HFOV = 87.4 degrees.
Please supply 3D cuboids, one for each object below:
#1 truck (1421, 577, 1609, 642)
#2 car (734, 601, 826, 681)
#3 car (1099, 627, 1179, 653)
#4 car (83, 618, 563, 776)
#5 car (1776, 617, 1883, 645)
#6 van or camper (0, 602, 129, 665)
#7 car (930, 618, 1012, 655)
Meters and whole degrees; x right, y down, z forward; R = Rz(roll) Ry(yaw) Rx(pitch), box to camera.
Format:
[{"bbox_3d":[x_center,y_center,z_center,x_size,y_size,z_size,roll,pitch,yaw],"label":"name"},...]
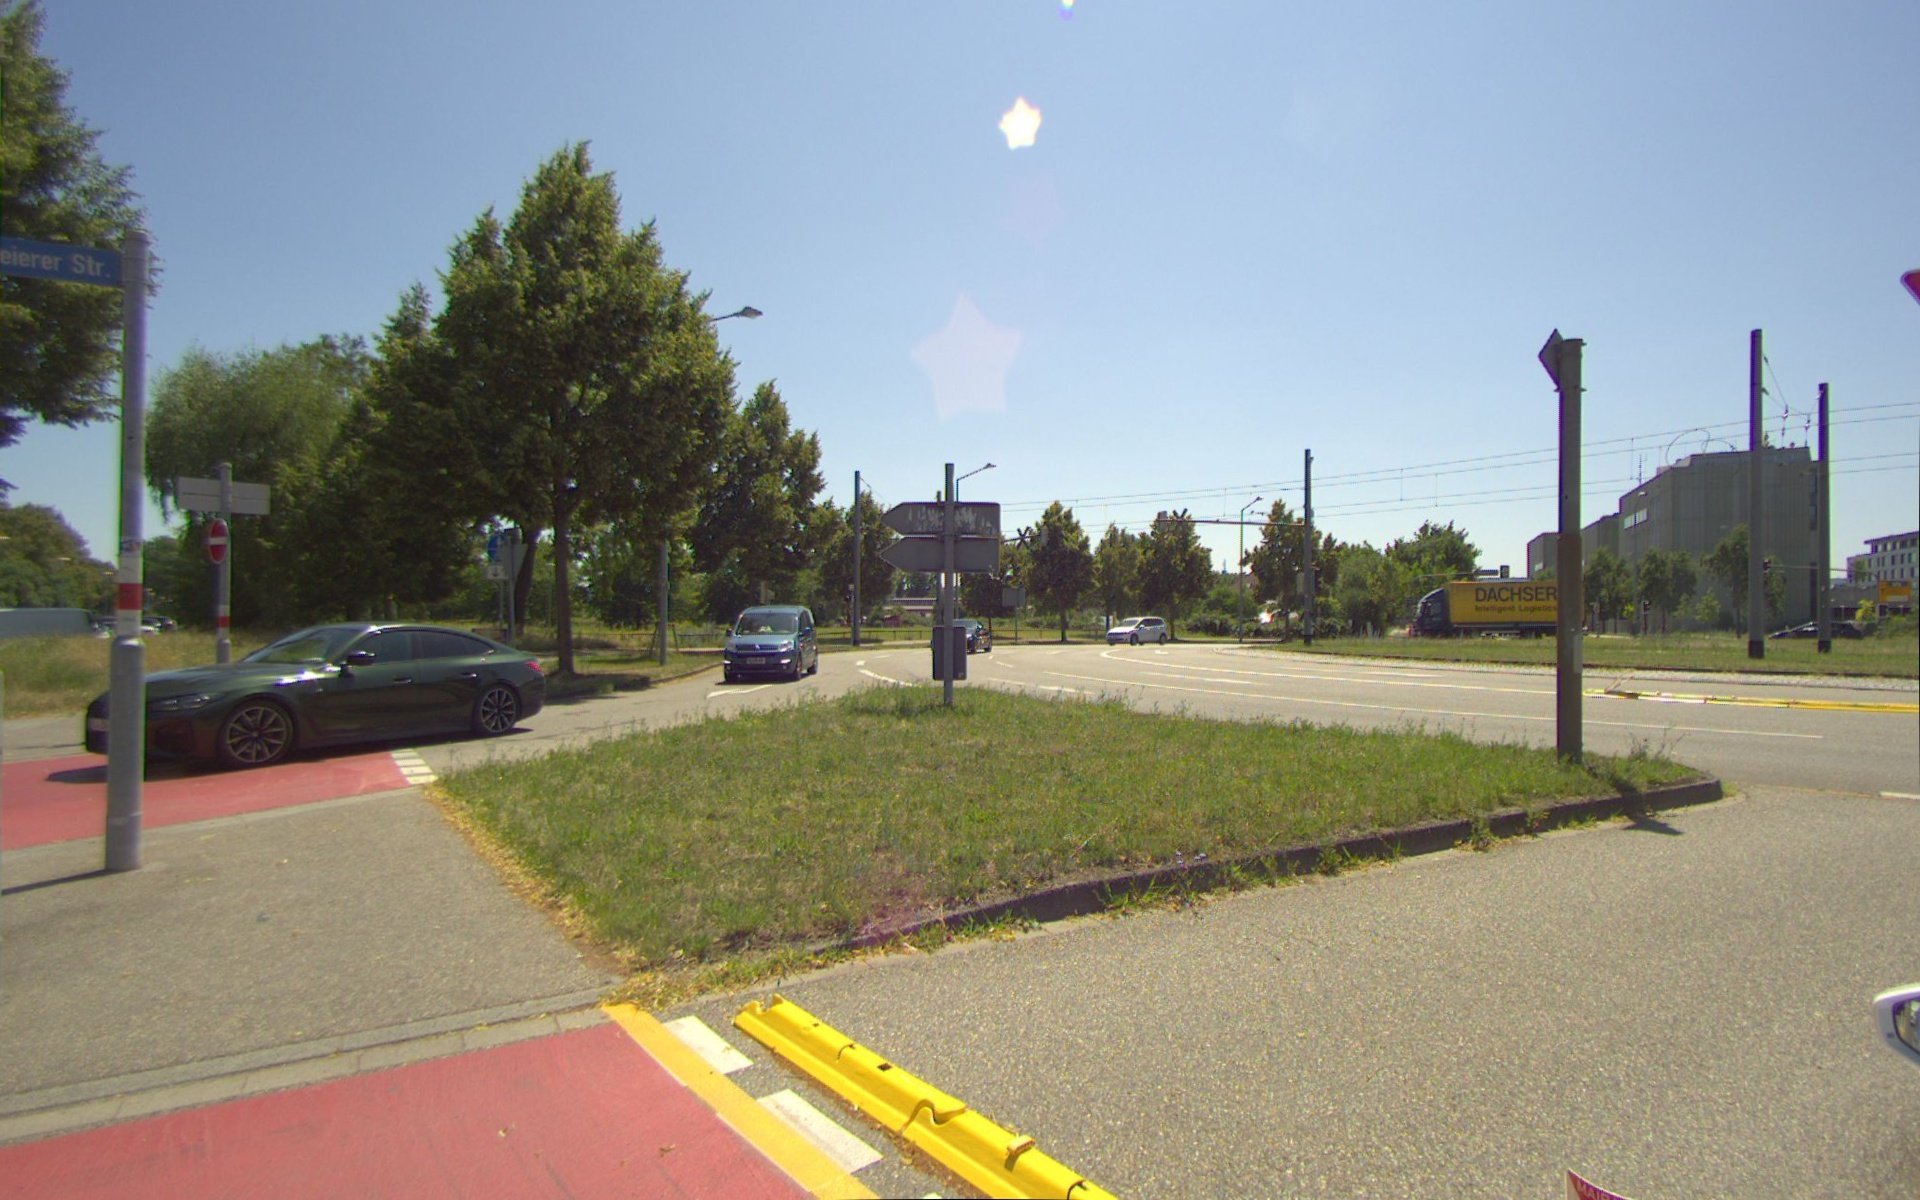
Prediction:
[{"bbox_3d":[32.864,0.570,59.964,9.422,3.707,2.709,0,-1,15],"label":"truck"},{"bbox_3d":[-4.393,0.996,25.026,1.657,1.793,4.204,-1,-2,-2],"label":"car"},{"bbox_3d":[10.543,2.323,58.996,4.978,1.473,1.807,1,-1,-38],"label":"car"},{"bbox_3d":[-6.920,0.933,11.625,1.689,1.430,4.618,0,-1,20],"label":"car"},{"bbox_3d":[46.572,1.646,53.902,3.972,1.480,1.728,0,-1,25],"label":"car"},{"bbox_3d":[-28.902,1.021,30.733,5.223,1.882,1.979,1,-1,-37],"label":"van or camper"},{"bbox_3d":[0.528,1.465,41.452,1.821,1.455,4.955,0,-1,20],"label":"car"}]
